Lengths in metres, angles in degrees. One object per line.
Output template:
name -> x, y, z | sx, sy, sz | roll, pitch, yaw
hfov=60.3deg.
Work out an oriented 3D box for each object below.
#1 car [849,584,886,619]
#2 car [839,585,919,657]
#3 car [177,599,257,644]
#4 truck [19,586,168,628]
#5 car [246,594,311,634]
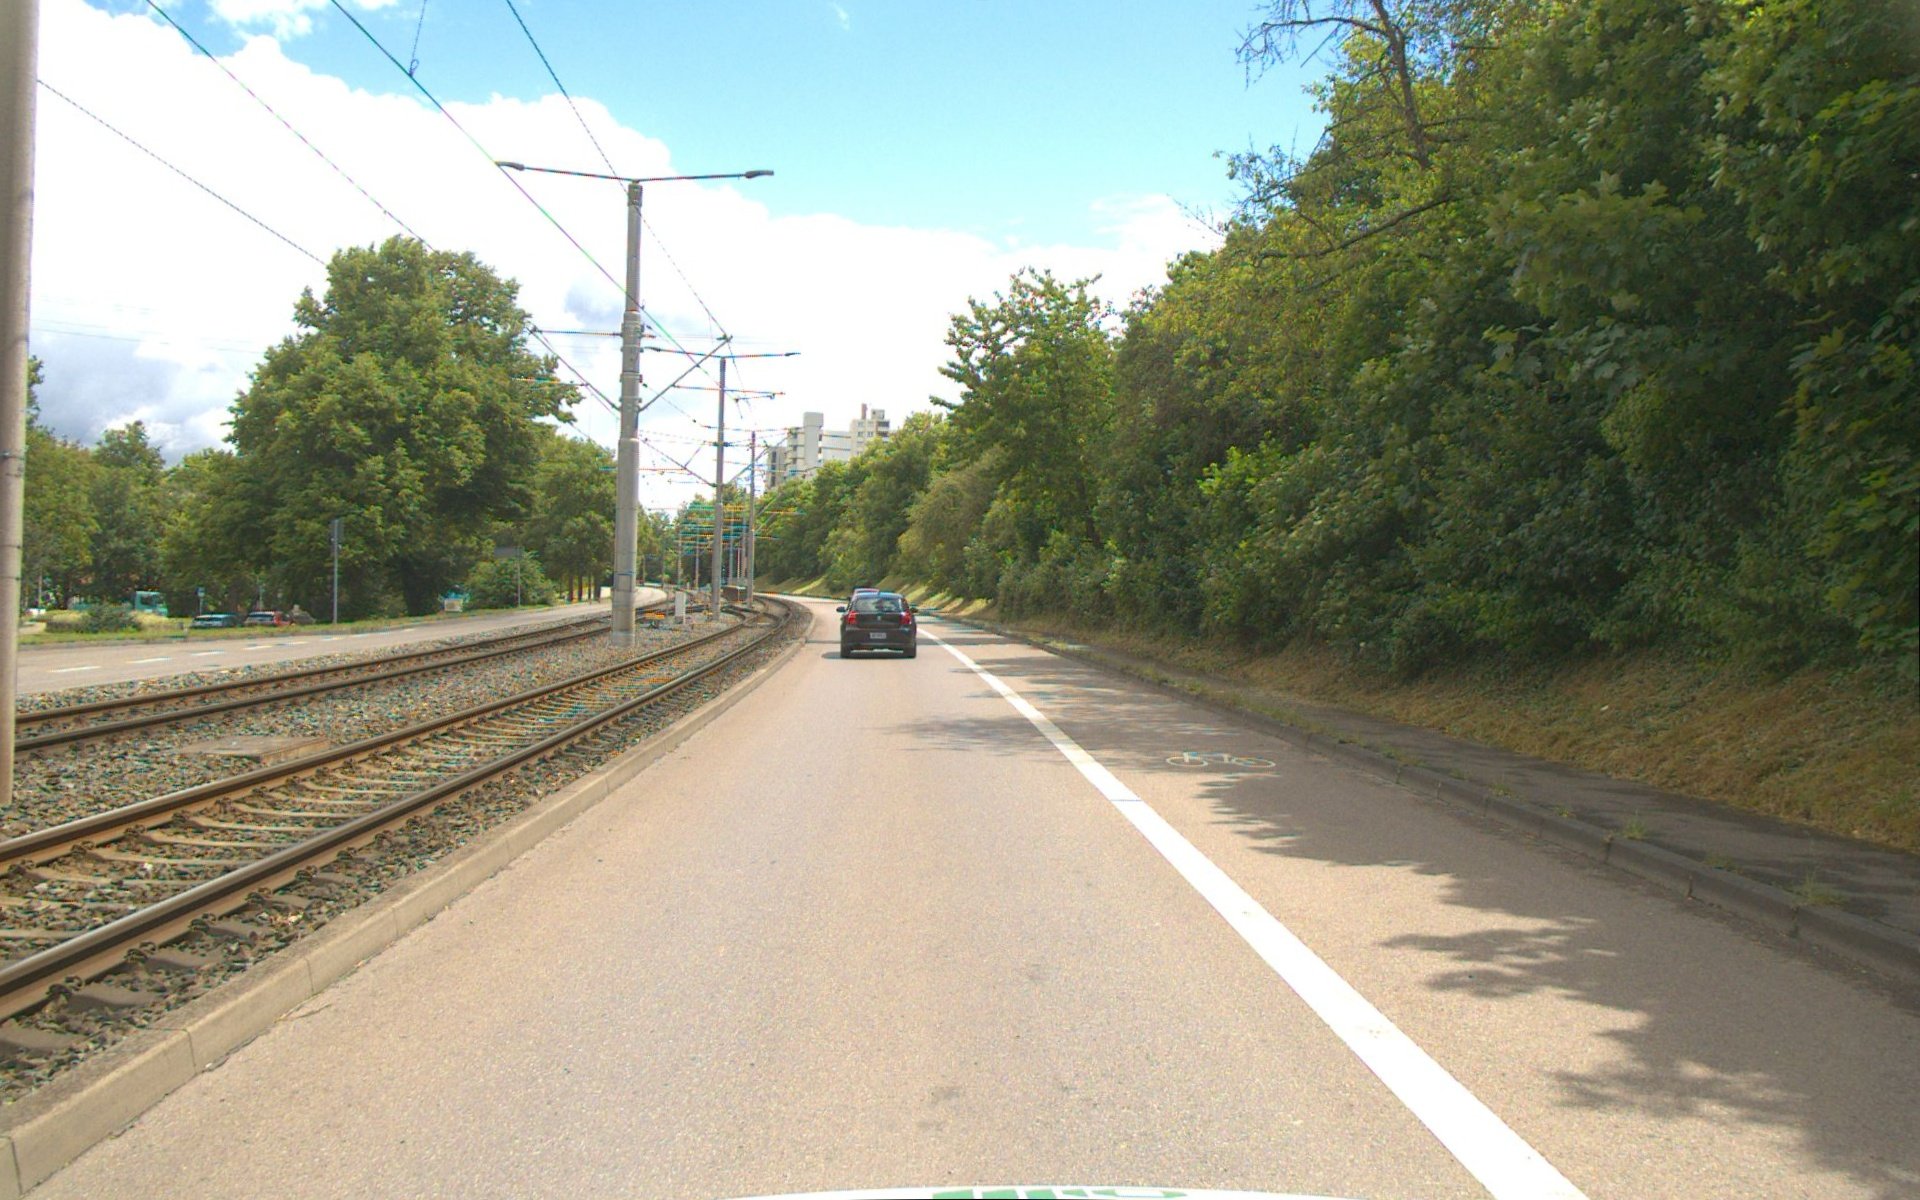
car -> -4.284, 0.080, 77.006 | 1.592, 1.469, 3.419 | 3, -1, -2
car -> -1.800, 0.471, 37.759 | 1.674, 1.486, 3.959 | 3, -1, -2
car -> -31.579, 0.886, 70.397 | 1.780, 1.802, 3.998 | 0, 1, -3
truck -> -61.194, 0.484, 117.084 | 8.950, 2.742, 2.602 | -1, 0, -18
car -> -32.021, 0.640, 77.813 | 1.781, 1.802, 3.995 | 0, 1, -6
